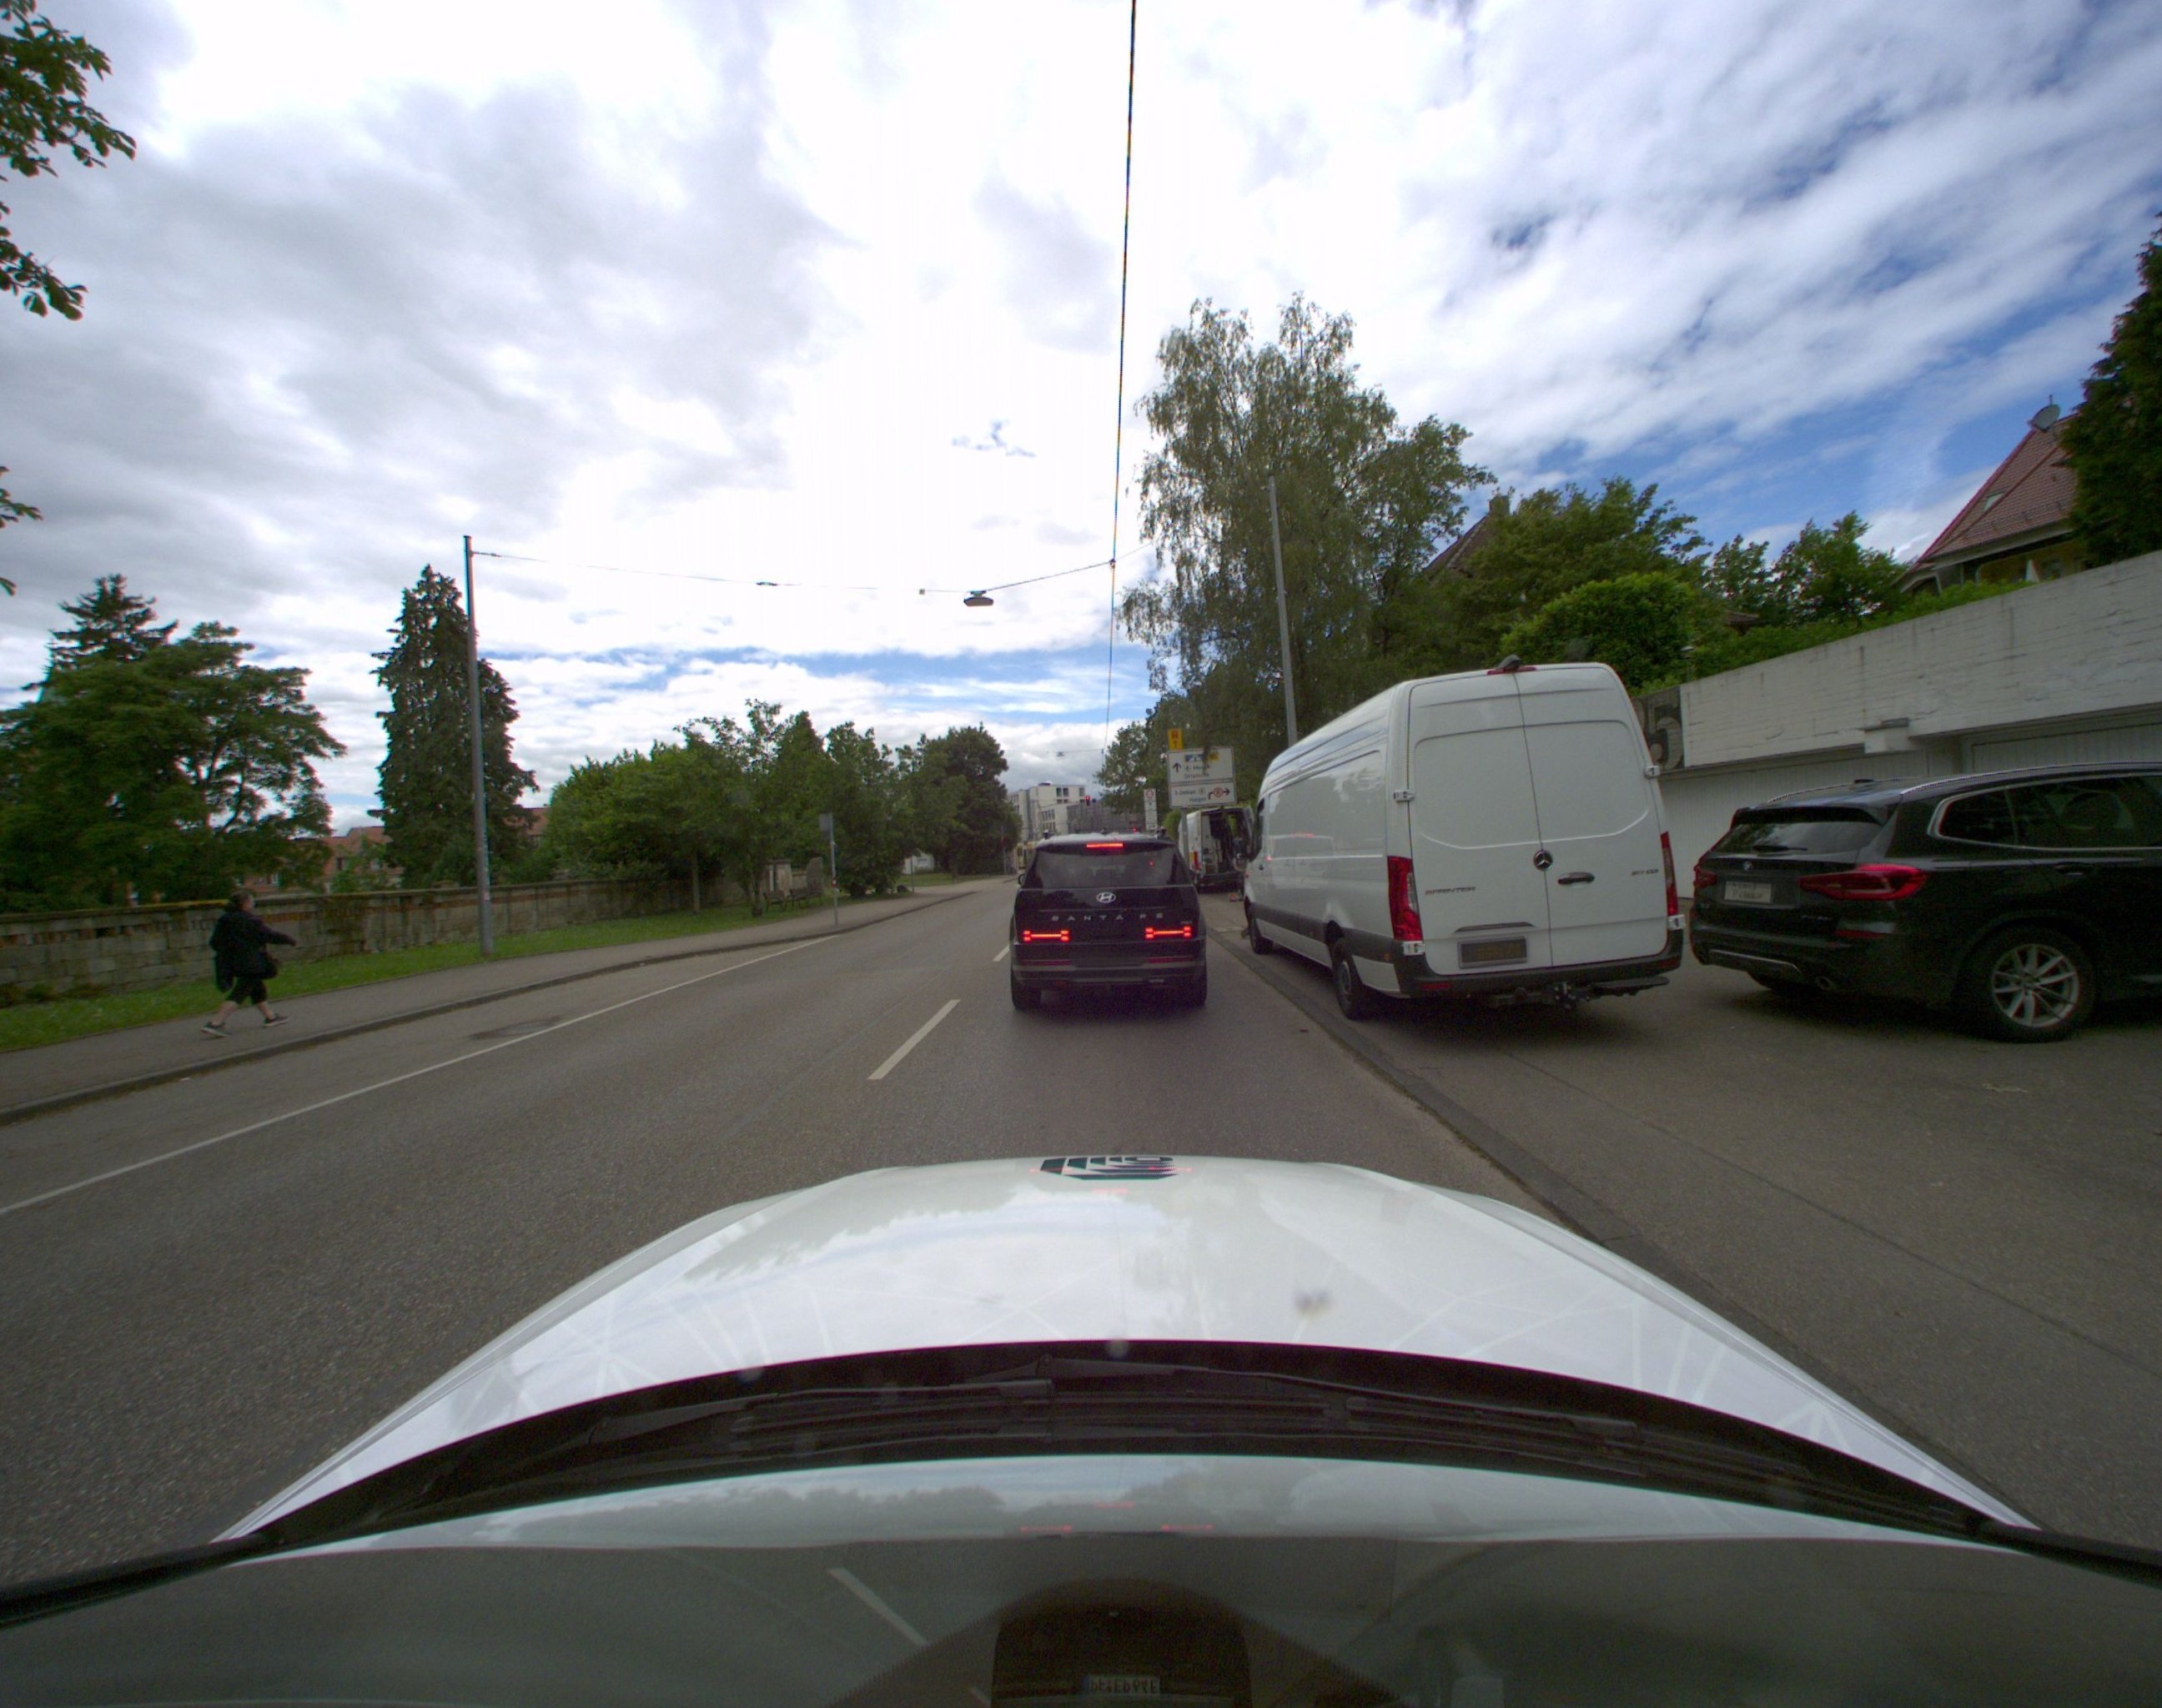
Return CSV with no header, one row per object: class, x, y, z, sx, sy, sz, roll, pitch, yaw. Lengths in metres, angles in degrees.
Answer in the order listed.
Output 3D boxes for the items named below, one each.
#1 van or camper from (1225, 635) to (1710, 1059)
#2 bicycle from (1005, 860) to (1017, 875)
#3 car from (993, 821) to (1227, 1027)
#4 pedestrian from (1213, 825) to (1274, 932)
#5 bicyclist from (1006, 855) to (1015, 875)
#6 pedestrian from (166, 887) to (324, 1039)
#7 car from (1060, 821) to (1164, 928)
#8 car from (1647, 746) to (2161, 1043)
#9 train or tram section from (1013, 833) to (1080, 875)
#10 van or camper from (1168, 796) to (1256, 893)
van or camper,3.112,-0.053,8.562,1.957,2.627,6.360,-5,0,1
bicycle,-6.116,1.204,70.773,0.675,1.279,2.490,-1,-2,-12
car,0.290,0.599,9.023,1.957,1.711,4.001,-2,0,1
pedestrian,2.793,0.421,14.035,0.620,1.743,0.600,-6,0,-25
bicyclist,-6.127,0.971,70.808,0.676,1.659,0.855,-1,-2,-12
pedestrian,-9.478,1.197,9.281,0.746,1.578,0.967,-2,0,1
car,0.638,0.397,17.763,1.957,2.001,4.001,-2,0,1
car,6.870,0.154,5.737,4.376,1.652,1.831,-4,0,2
train or tram section,-4.737,0.183,103.577,3.203,4.523,18.560,-1,-2,-19
van or camper,4.256,-0.293,27.378,1.957,2.797,5.288,-5,0,1
